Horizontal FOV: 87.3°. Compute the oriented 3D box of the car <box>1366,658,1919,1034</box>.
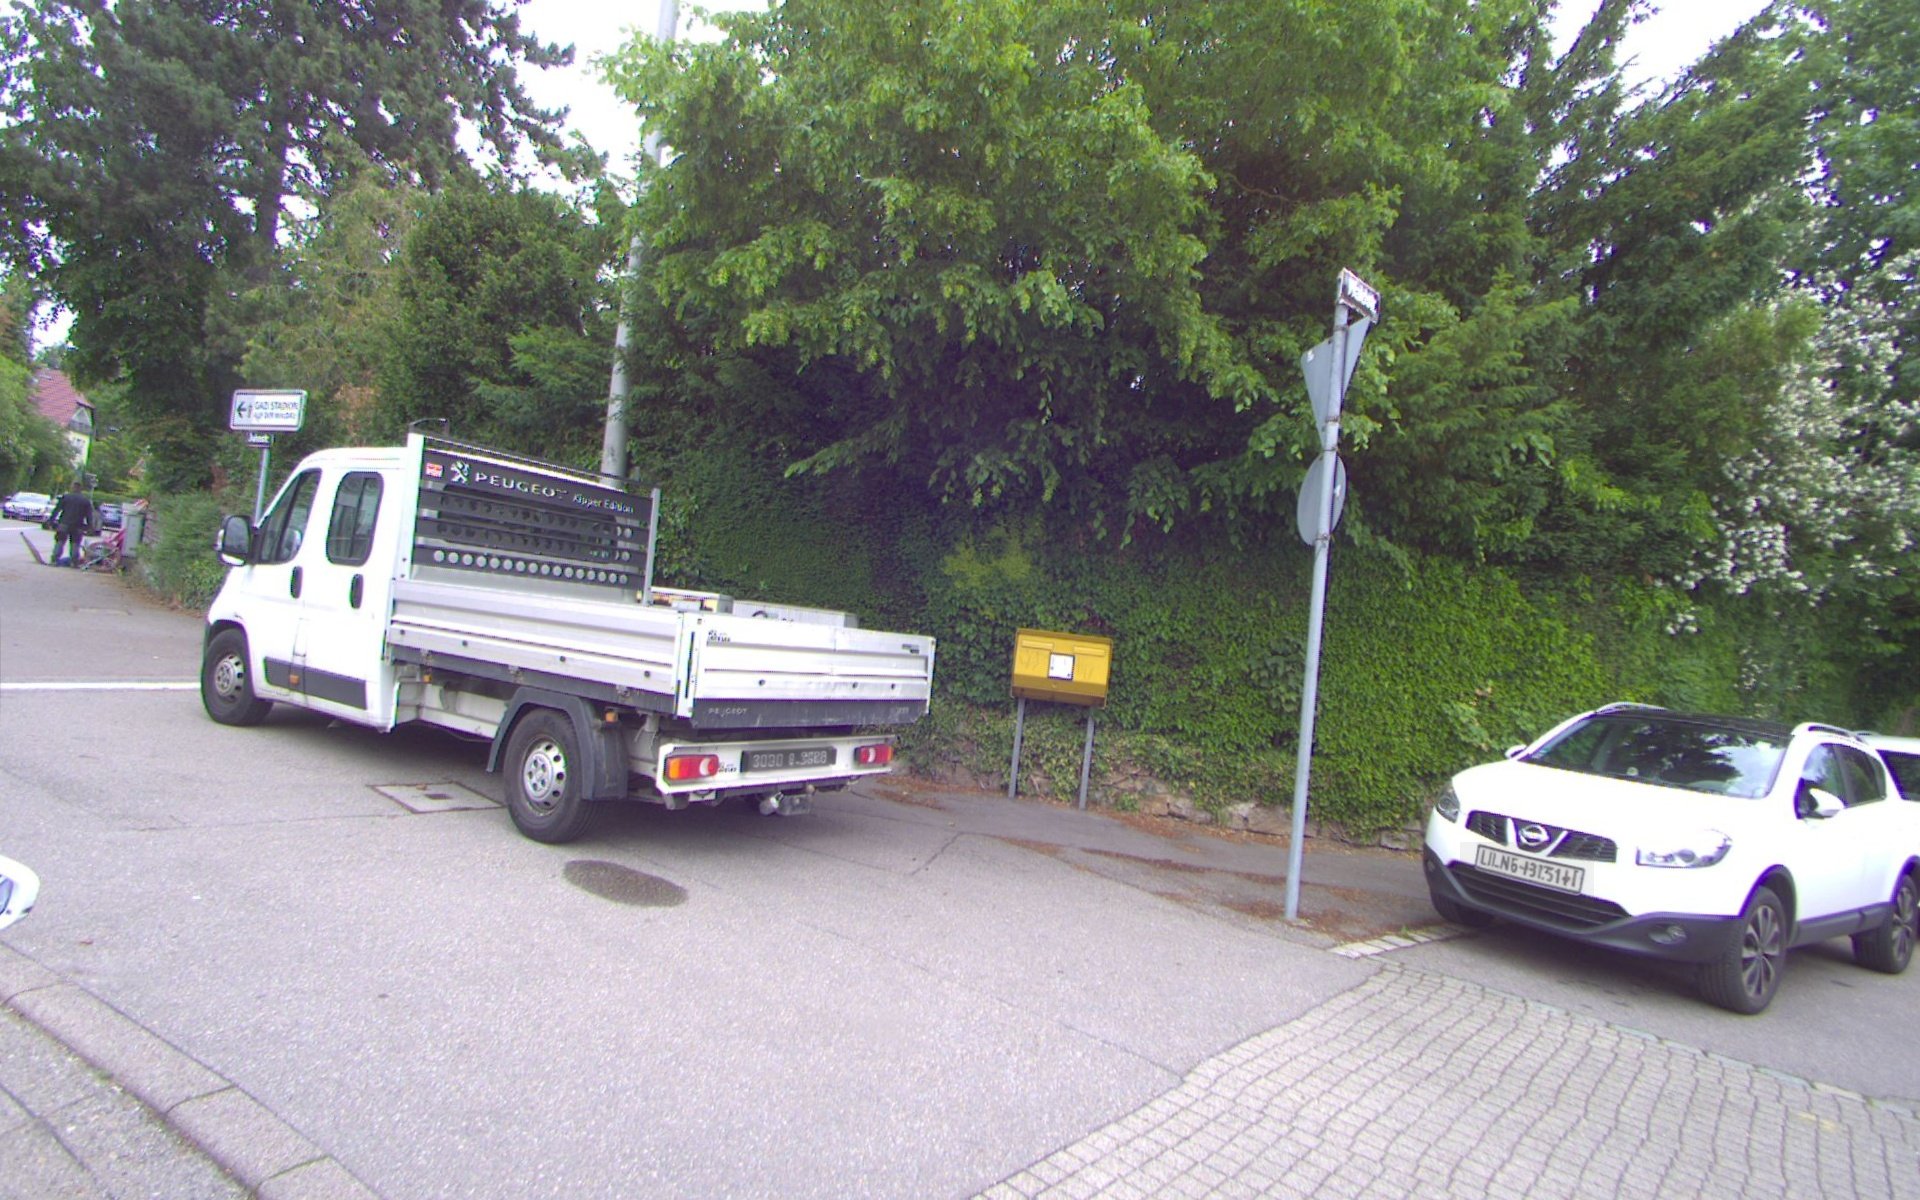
[{"bbox_3d":[4.775,1.468,6.661,4.098,1.641,1.783,9,-2,-34],"label":"car"}]

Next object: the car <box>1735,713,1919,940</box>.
[{"bbox_3d":[9.054,2.114,9.474,4.041,1.641,1.781,9,-3,-38],"label":"car"}]

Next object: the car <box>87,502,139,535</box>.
[{"bbox_3d":[-48.950,-4.699,58.199,1.790,1.545,4.697,7,0,-36],"label":"car"}]

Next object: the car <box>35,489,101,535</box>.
[{"bbox_3d":[-40.750,-4.002,46.051,1.798,1.775,4.441,7,0,-37],"label":"car"}]

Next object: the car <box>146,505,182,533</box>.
[{"bbox_3d":[-66.692,-6.756,84.330,1.910,1.915,4.859,10,-2,-36],"label":"car"}]

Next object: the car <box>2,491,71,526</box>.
[{"bbox_3d":[-48.511,-4.779,52.918,1.928,1.420,4.697,9,-1,-35],"label":"car"}]

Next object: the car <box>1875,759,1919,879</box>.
[{"bbox_3d":[13.942,3.032,13.484,4.040,1.440,1.781,8,-2,-38],"label":"car"}]

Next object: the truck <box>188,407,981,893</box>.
[{"bbox_3d":[-2.925,0.084,7.165,5.631,2.270,2.211,6,-2,34],"label":"truck"}]

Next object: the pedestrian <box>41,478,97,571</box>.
[{"bbox_3d":[-19.515,-1.649,22.037,0.549,1.929,0.597,7,-1,32],"label":"pedestrian"}]

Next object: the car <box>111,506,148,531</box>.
[{"bbox_3d":[-57.705,-5.677,69.951,1.685,1.448,3.711,7,0,-37],"label":"car"}]
